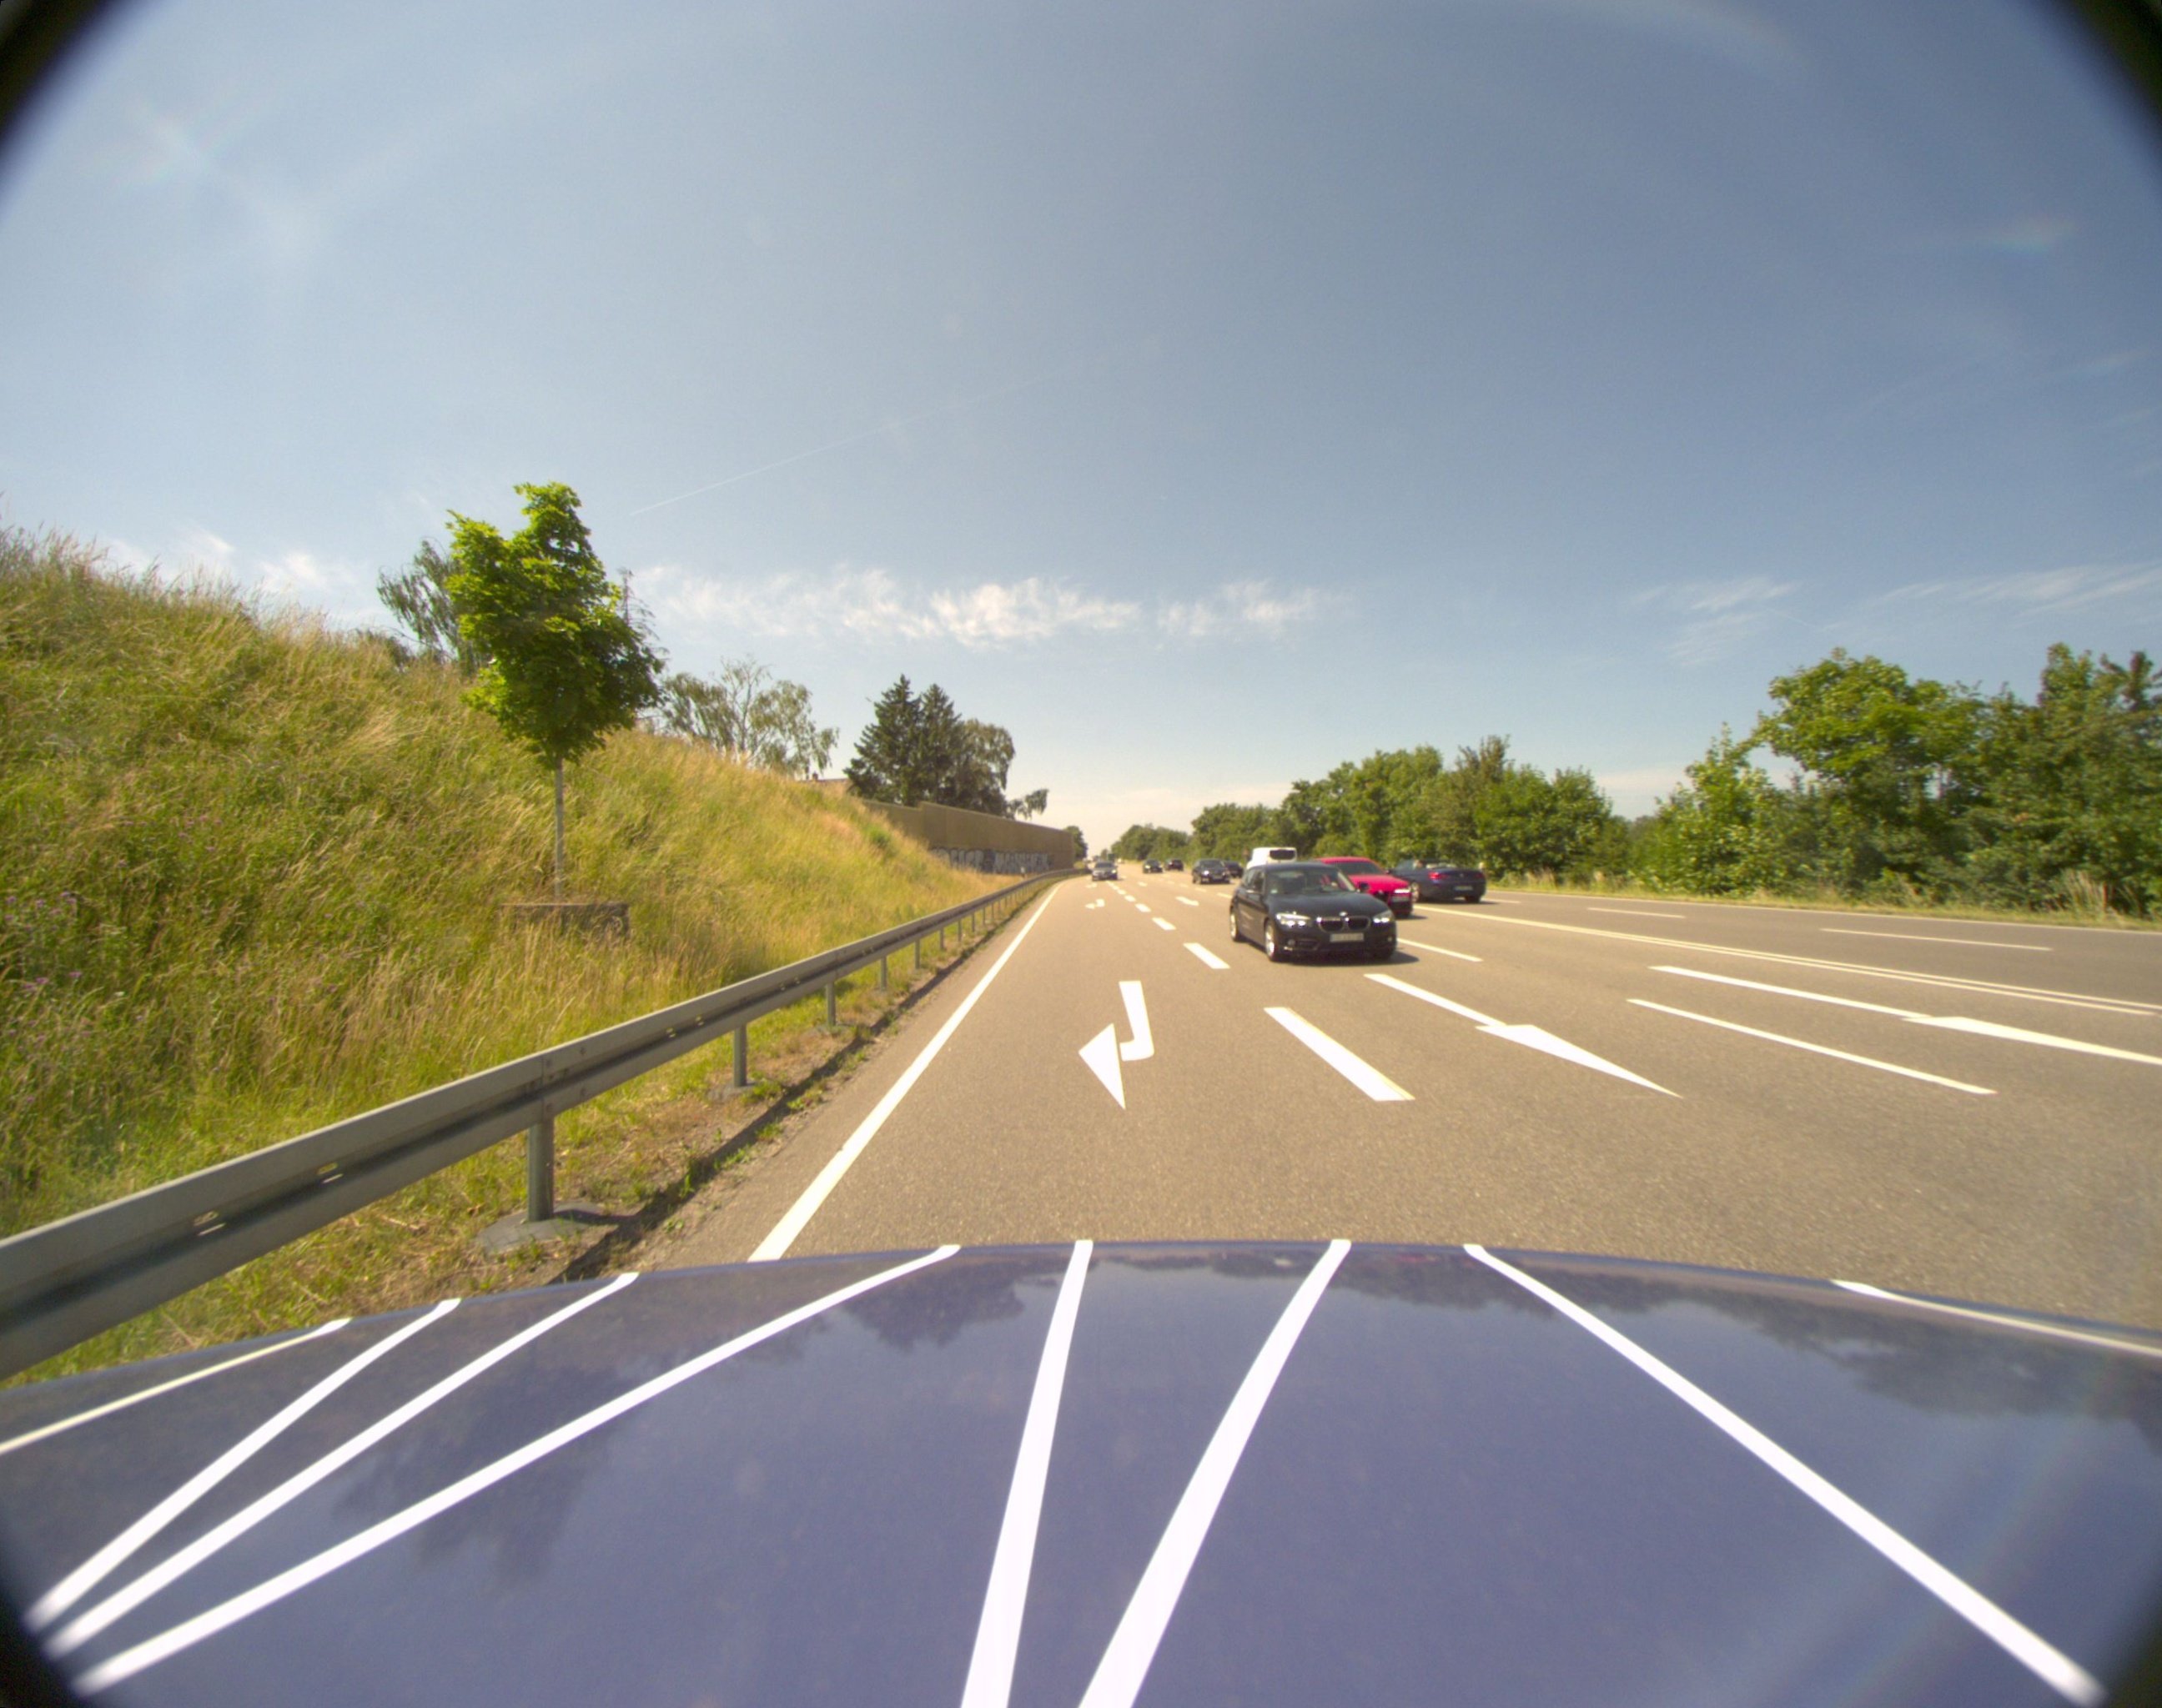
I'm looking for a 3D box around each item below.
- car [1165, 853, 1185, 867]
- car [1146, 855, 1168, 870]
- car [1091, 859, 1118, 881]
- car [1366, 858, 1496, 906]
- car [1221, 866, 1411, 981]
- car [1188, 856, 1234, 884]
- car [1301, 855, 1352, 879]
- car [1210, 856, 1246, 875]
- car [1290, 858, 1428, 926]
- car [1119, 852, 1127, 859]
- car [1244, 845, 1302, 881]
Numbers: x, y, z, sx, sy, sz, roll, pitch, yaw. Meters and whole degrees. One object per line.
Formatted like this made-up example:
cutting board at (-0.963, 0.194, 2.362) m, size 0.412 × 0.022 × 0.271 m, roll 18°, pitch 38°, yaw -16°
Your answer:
car at (11.002, 0.738, 89.027) m, size 1.893 × 1.527 × 4.526 m, roll -2°, pitch 0°, yaw 2°
car at (7.776, 0.884, 78.249) m, size 1.893 × 1.439 × 4.526 m, roll -2°, pitch 0°, yaw 2°
car at (1.784, 1.147, 56.481) m, size 1.893 × 1.439 × 4.526 m, roll -2°, pitch 0°, yaw 3°
car at (10.656, 0.799, 23.579) m, size 1.809 × 1.272 × 4.765 m, roll -2°, pitch 0°, yaw 0°
car at (3.539, 0.964, 12.346) m, size 1.788 × 1.422 × 4.381 m, roll -2°, pitch 0°, yaw 2°
car at (7.343, 0.870, 43.257) m, size 1.679 × 1.403 × 4.466 m, roll -2°, pitch 0°, yaw -2°
car at (15.374, 0.792, 47.791) m, size 1.663 × 1.453 × 4.343 m, roll -1°, pitch 0°, yaw -2°
car at (10.922, 0.846, 56.694) m, size 1.555 × 1.326 × 4.854 m, roll -1°, pitch 0°, yaw -2°
car at (6.717, 0.852, 18.917) m, size 1.753 × 1.413 × 4.566 m, roll -2°, pitch 0°, yaw 1°
car at (12.061, 0.365, 218.219) m, size 1.747 × 1.808 × 3.999 m, roll -2°, pitch 1°, yaw 0°
car at (10.743, 0.496, 42.802) m, size 1.910 × 1.906 × 5.051 m, roll 0°, pitch 0°, yaw -1°
